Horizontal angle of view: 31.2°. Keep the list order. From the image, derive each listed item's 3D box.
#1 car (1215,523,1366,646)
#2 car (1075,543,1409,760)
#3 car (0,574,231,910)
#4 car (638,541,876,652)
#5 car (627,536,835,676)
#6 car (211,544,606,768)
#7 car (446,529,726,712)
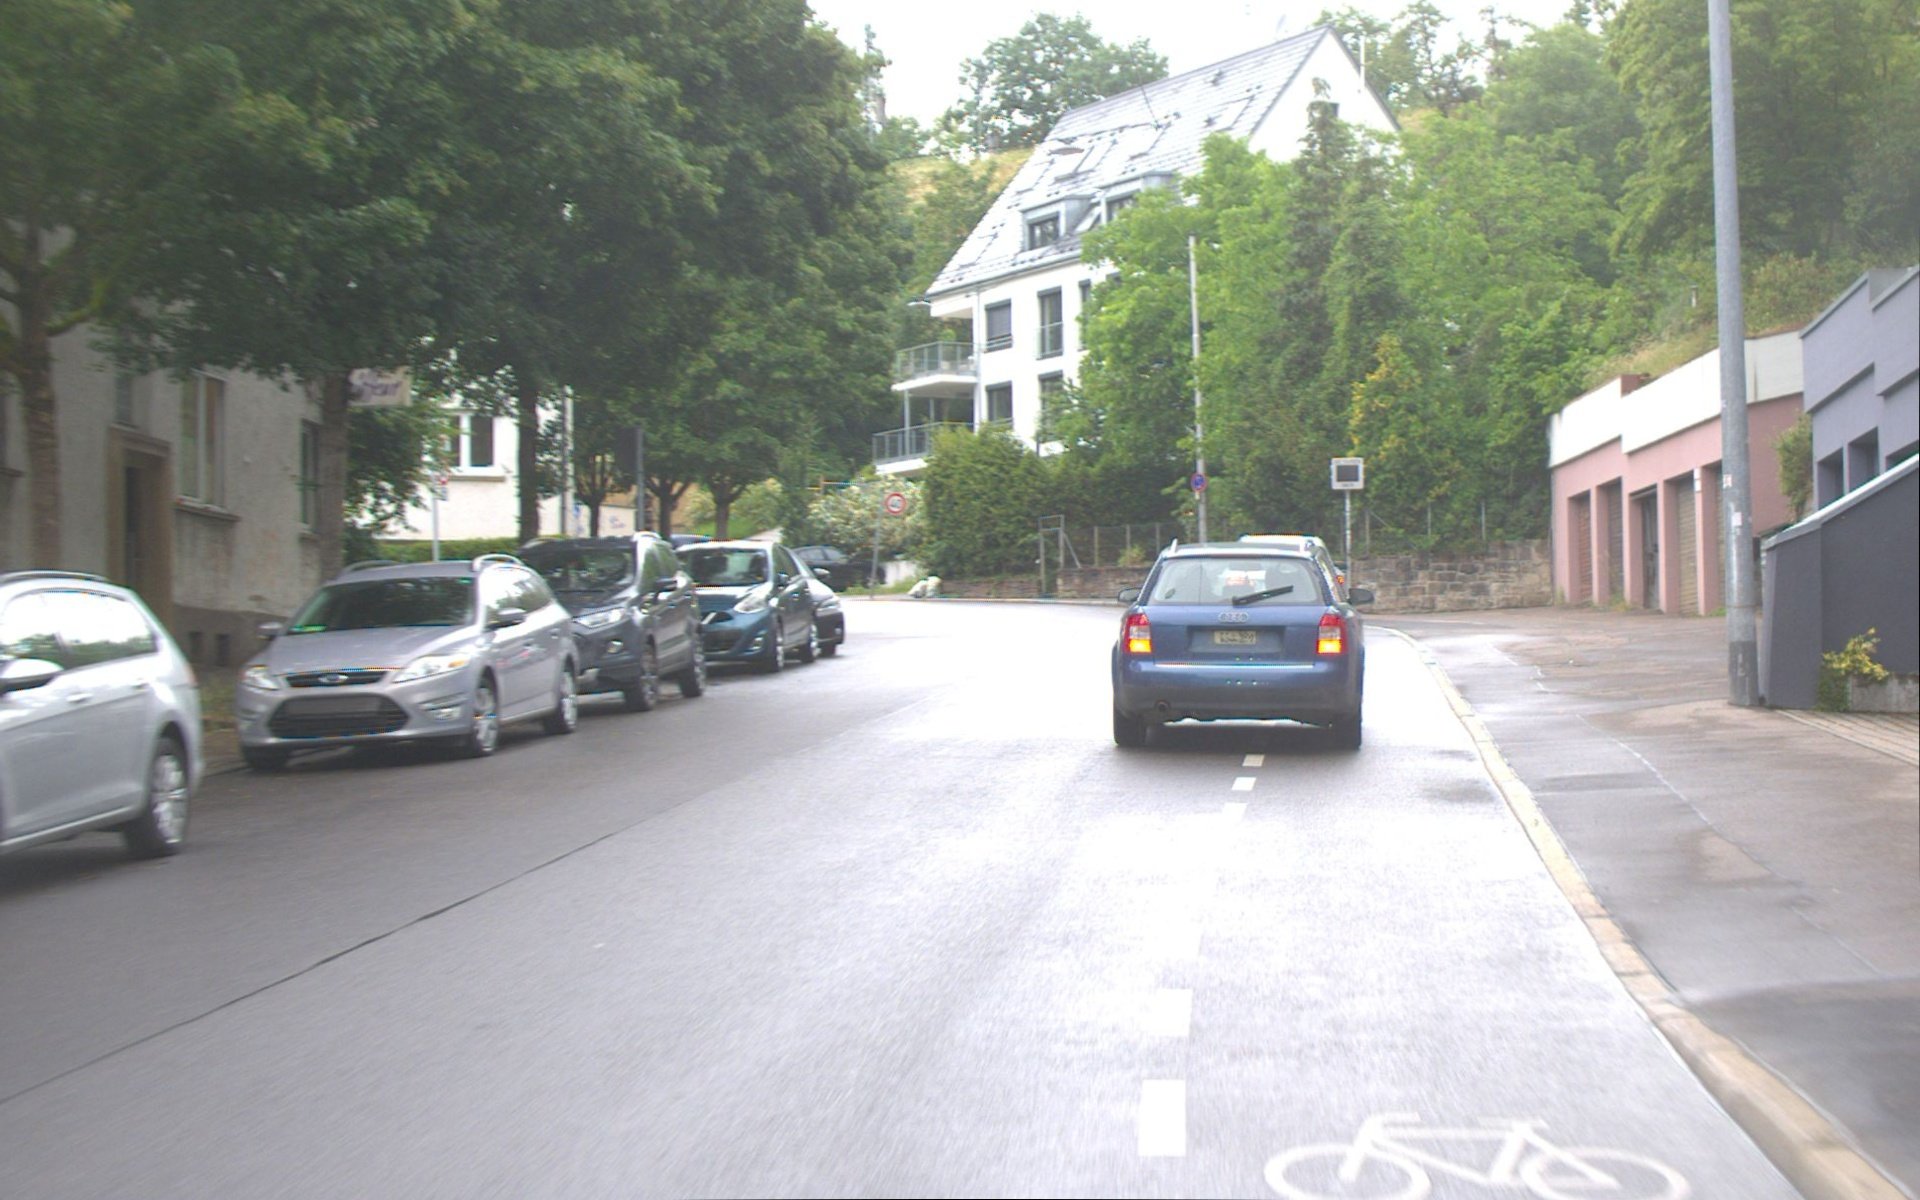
[{"bbox_3d":[4.657,-0.253,48.683,1.950,1.556,4.262,3,1,5],"label":"car"},{"bbox_3d":[2.144,0.299,24.977,1.855,1.409,4.359,0,1,12],"label":"car"},{"bbox_3d":[-4.999,0.638,16.022,1.805,1.448,4.596,-2,0,5],"label":"car"},{"bbox_3d":[-2.722,-0.061,45.122,1.993,1.386,4.199,0,0,-20],"label":"car"},{"bbox_3d":[-2.632,0.030,40.352,1.713,1.457,3.880,1,2,7],"label":"car"},{"bbox_3d":[-4.178,0.420,26.854,1.805,1.547,4.798,-2,-1,6],"label":"car"},{"bbox_3d":[-3.512,0.165,32.979,1.805,1.621,4.138,1,1,6],"label":"car"}]
